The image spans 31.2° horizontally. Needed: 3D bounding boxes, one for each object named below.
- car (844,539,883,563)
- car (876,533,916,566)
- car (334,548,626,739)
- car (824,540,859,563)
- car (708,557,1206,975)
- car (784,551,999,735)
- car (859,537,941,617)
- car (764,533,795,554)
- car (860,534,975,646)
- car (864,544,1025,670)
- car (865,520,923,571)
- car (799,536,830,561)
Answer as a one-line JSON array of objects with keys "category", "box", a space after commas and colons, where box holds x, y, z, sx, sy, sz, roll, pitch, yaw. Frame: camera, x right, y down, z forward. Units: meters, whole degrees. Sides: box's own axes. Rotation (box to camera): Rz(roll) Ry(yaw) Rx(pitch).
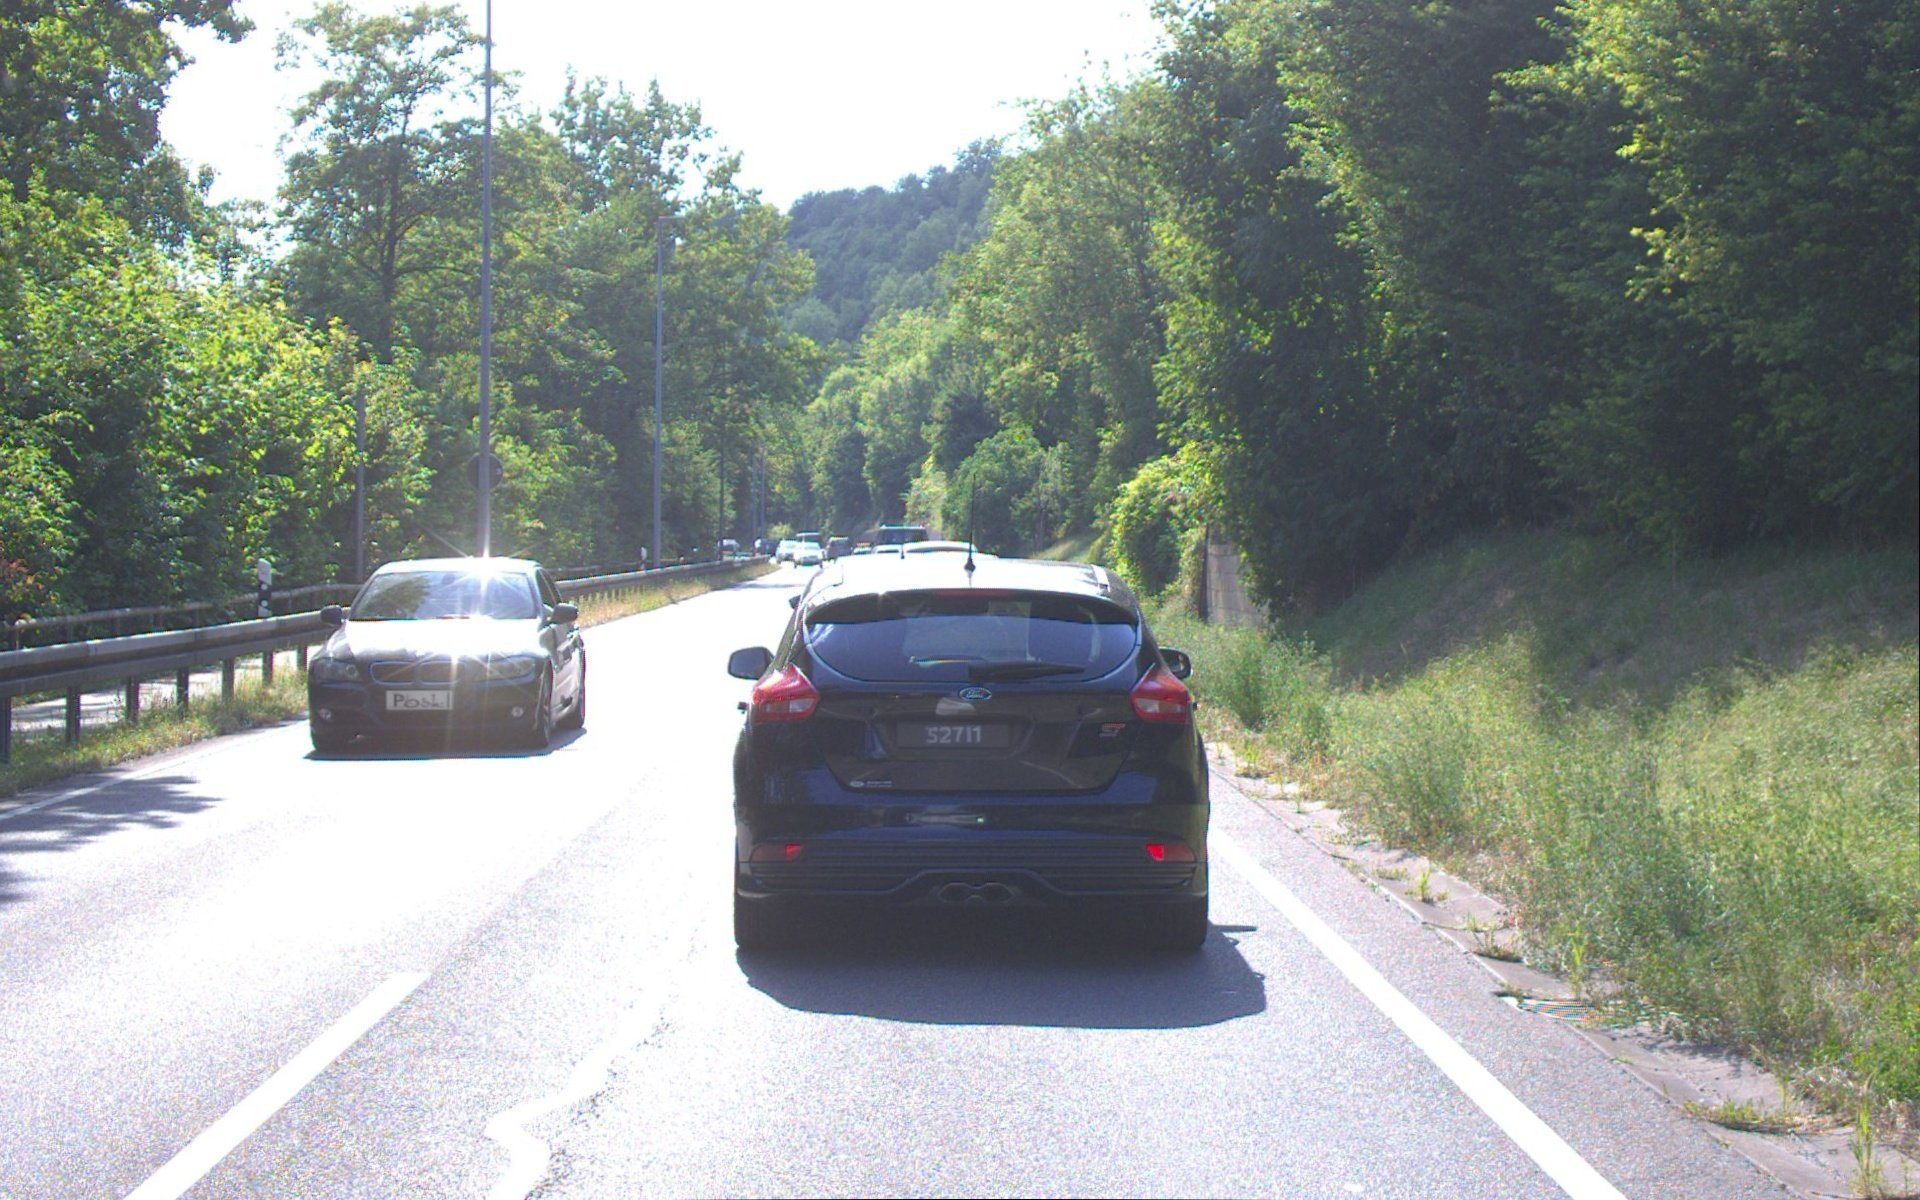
[{"category": "car", "box": [-6.053, -3.094, 215.738, 1.993, 1.514, 4.001, 0, 1, -8]}, {"category": "car", "box": [-3.008, -2.384, 162.183, 1.819, 1.514, 4.000, 0, 1, -1]}, {"category": "car", "box": [-3.816, 0.296, 27.959, 1.692, 1.415, 4.142, 0, 1, 1]}, {"category": "car", "box": [-8.194, -3.359, 236.705, 1.993, 1.514, 4.001, 0, 1, -8]}, {"category": "car", "box": [-0.033, 0.558, 14.044, 1.739, 1.451, 4.000, 0, 1, -1]}, {"category": "car", "box": [-0.513, 0.307, 28.855, 1.661, 1.413, 4.000, 0, 1, 1]}, {"category": "car", "box": [-1.234, -0.496, 71.189, 1.631, 1.590, 4.000, 0, 1, -1]}, {"category": "car", "box": [-12.287, -3.859, 233.921, 1.681, 1.458, 4.199, 0, 1, -9]}, {"category": "car", "box": [-0.628, -0.185, 50.976, 1.631, 1.590, 4.000, 0, 1, -1]}, {"category": "car", "box": [-0.195, 0.044, 40.582, 1.804, 1.387, 4.000, 0, 1, -1]}, {"category": "car", "box": [-2.314, -1.914, 120.485, 1.863, 1.774, 4.001, 0, 1, -3]}, {"category": "car", "box": [-8.275, -2.925, 196.006, 1.623, 1.372, 4.048, -2, 1, -1]}]
